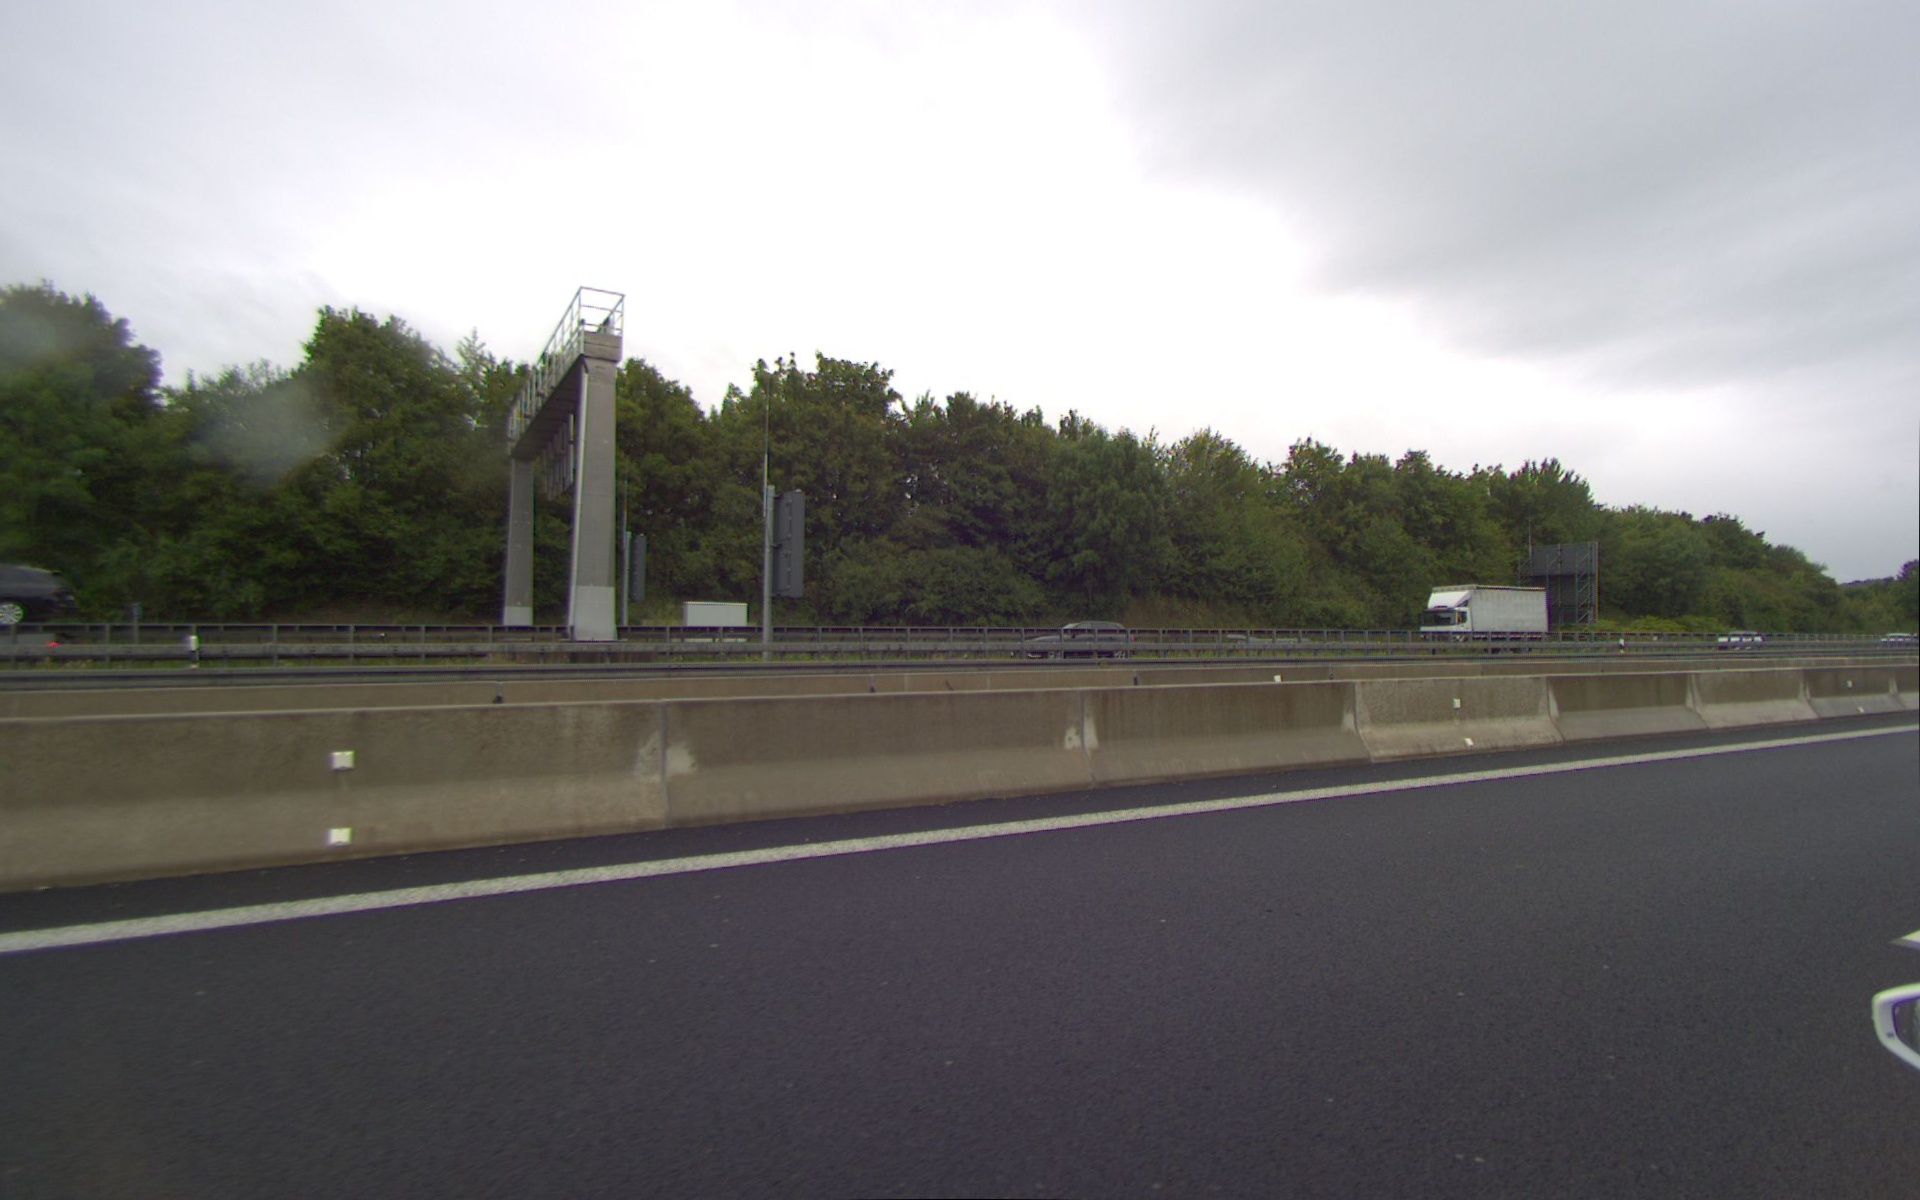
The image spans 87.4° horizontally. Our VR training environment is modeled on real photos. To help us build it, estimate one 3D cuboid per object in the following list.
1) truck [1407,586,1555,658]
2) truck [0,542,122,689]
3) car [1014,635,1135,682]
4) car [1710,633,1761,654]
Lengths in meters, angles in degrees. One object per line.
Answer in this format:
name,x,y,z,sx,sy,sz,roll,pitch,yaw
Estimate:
truck,30.621,1.320,58.872,9.522,3.930,3.059,2,0,-30
truck,-24.568,0.247,22.075,8.972,3.263,2.837,2,0,-30
car,3.943,1.981,34.459,3.956,1.475,1.666,2,0,-32
car,57.333,3.209,74.257,3.953,1.475,1.667,2,0,-30
